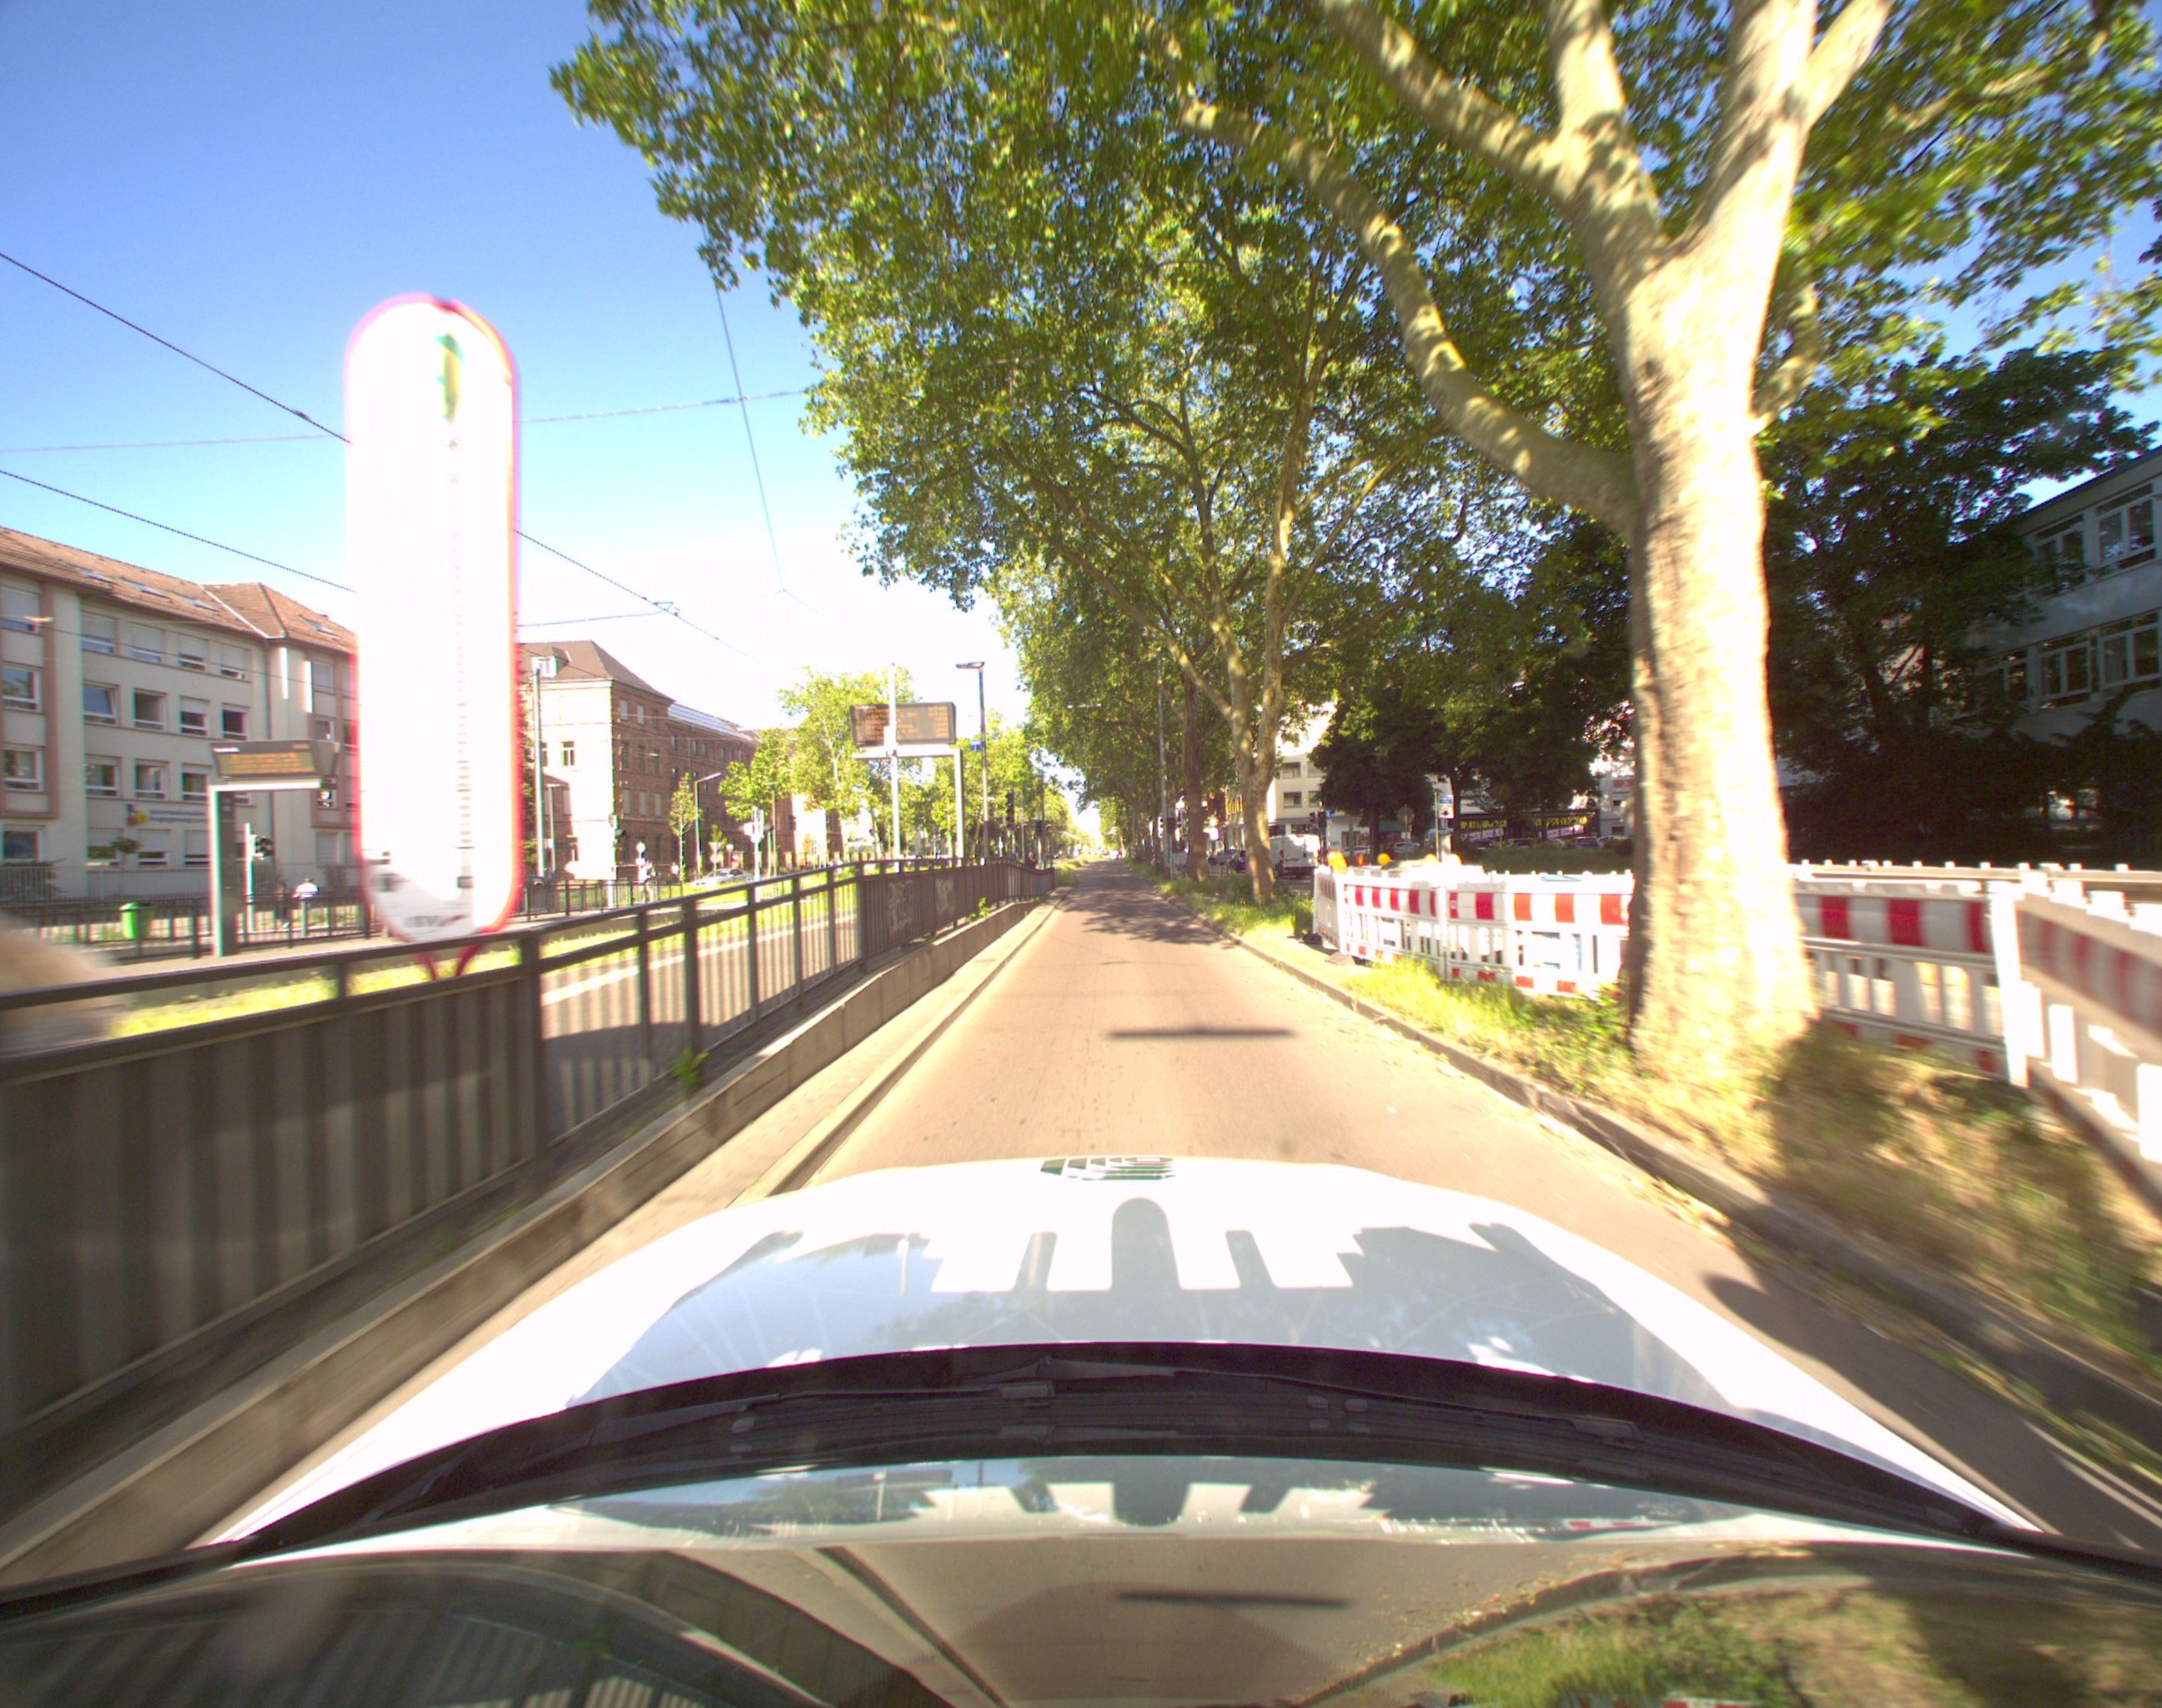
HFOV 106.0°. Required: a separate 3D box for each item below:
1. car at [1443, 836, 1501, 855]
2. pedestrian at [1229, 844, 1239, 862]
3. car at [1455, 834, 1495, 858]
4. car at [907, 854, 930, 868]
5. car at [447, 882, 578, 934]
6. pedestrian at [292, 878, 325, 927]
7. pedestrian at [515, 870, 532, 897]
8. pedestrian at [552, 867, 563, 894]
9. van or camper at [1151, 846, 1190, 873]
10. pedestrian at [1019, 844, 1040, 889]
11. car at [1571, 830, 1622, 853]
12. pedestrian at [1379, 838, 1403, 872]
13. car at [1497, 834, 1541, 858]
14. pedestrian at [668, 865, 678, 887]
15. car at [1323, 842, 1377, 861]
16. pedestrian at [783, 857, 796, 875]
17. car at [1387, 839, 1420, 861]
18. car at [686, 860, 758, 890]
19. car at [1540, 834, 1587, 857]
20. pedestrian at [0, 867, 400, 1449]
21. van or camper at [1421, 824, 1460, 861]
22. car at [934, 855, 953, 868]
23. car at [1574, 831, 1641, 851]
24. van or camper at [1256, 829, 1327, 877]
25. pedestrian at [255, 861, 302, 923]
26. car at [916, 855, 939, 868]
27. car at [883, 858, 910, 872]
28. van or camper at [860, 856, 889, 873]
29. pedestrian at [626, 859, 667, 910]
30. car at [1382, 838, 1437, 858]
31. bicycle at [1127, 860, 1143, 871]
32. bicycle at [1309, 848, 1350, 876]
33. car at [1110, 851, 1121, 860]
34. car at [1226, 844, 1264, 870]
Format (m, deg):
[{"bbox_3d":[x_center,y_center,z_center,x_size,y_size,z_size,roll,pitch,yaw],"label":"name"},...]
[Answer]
[{"bbox_3d":[34.412,-0.759,71.826,4.346,1.536,2.009,-2,0,17],"label":"car"},{"bbox_3d":[15.002,-0.124,80.069,0.792,1.704,0.724,-2,0,2],"label":"pedestrian"},{"bbox_3d":[29.916,-0.631,62.031,1.978,1.669,4.766,-2,0,17],"label":"car"},{"bbox_3d":[-22.258,0.942,111.901,1.759,1.719,4.428,-2,0,6],"label":"car"},{"bbox_3d":[-22.620,2.110,32.625,1.984,1.707,4.156,-2,0,6],"label":"car"},{"bbox_3d":[-30.127,1.880,31.765,0.690,1.837,0.573,-2,0,1],"label":"pedestrian"},{"bbox_3d":[-36.540,1.928,53.378,0.682,1.695,0.820,-2,0,-17],"label":"pedestrian"},{"bbox_3d":[-33.751,1.718,52.487,0.373,1.695,0.450,-2,0,8],"label":"pedestrian"},{"bbox_3d":[5.610,0.349,51.382,1.503,1.588,2.825,-2,0,-15],"label":"van or camper"},{"bbox_3d":[-1.957,0.470,31.011,0.709,1.680,0.772,-2,0,0],"label":"pedestrian"},{"bbox_3d":[37.975,-0.913,60.113,1.978,1.628,4.409,-2,0,17],"label":"car"},{"bbox_3d":[15.212,0.065,39.995,0.729,1.616,1.036,-2,0,2],"label":"pedestrian"},{"bbox_3d":[33.039,-0.593,61.557,1.978,1.669,4.766,-2,0,17],"label":"car"},{"bbox_3d":[-31.920,1.686,63.704,0.684,1.695,0.877,-2,0,-26],"label":"pedestrian"},{"bbox_3d":[24.734,-0.262,74.969,4.550,1.581,2.009,-2,0,17],"label":"car"},{"bbox_3d":[-30.034,1.230,83.826,0.897,1.899,0.943,-2,0,3],"label":"pedestrian"},{"bbox_3d":[25.186,-0.347,63.627,1.978,1.628,4.409,-2,0,17],"label":"car"},{"bbox_3d":[-21.133,1.202,48.158,1.755,1.622,4.486,-2,0,8],"label":"car"},{"bbox_3d":[35.908,-0.648,60.720,1.978,1.628,4.409,-2,0,17],"label":"car"},{"bbox_3d":[-2.477,0.639,2.084,0.749,1.179,0.813,-1,0,1],"label":"pedestrian"},{"bbox_3d":[27.703,-0.870,62.904,2.130,2.636,5.614,-2,0,18],"label":"van or camper"},{"bbox_3d":[-21.594,1.185,128.385,2.102,1.809,4.738,-2,0,0],"label":"car"},{"bbox_3d":[44.546,-1.120,68.974,4.346,1.536,2.009,-2,0,17],"label":"car"},{"bbox_3d":[10.888,-0.054,42.603,2.282,2.286,5.825,-1,0,2],"label":"van or camper"},{"bbox_3d":[-26.850,1.263,27.253,0.660,2.013,0.860,-2,0,1],"label":"pedestrian"},{"bbox_3d":[-22.115,1.082,117.395,1.983,1.615,4.428,-2,0,6],"label":"car"},{"bbox_3d":[-22.829,1.341,101.005,1.985,1.649,4.830,-2,1,3],"label":"car"},{"bbox_3d":[-23.016,1.150,90.966,1.987,1.787,4.432,-3,0,0],"label":"van or camper"},{"bbox_3d":[-15.124,1.046,28.350,0.949,1.736,0.731,-2,0,4],"label":"pedestrian"},{"bbox_3d":[29.541,-0.519,73.365,4.346,1.644,2.009,-2,0,17],"label":"car"},{"bbox_3d":[5.305,1.122,79.989,1.584,1.058,0.405,-2,0,8],"label":"bicycle"},{"bbox_3d":[11.818,0.363,38.807,1.600,1.263,0.962,-2,0,-3],"label":"bicycle"},{"bbox_3d":[6.807,0.361,161.918,2.014,1.662,4.002,-2,0,2],"label":"car"},{"bbox_3d":[11.627,0.204,58.134,1.812,1.742,5.170,-2,0,2],"label":"car"}]
